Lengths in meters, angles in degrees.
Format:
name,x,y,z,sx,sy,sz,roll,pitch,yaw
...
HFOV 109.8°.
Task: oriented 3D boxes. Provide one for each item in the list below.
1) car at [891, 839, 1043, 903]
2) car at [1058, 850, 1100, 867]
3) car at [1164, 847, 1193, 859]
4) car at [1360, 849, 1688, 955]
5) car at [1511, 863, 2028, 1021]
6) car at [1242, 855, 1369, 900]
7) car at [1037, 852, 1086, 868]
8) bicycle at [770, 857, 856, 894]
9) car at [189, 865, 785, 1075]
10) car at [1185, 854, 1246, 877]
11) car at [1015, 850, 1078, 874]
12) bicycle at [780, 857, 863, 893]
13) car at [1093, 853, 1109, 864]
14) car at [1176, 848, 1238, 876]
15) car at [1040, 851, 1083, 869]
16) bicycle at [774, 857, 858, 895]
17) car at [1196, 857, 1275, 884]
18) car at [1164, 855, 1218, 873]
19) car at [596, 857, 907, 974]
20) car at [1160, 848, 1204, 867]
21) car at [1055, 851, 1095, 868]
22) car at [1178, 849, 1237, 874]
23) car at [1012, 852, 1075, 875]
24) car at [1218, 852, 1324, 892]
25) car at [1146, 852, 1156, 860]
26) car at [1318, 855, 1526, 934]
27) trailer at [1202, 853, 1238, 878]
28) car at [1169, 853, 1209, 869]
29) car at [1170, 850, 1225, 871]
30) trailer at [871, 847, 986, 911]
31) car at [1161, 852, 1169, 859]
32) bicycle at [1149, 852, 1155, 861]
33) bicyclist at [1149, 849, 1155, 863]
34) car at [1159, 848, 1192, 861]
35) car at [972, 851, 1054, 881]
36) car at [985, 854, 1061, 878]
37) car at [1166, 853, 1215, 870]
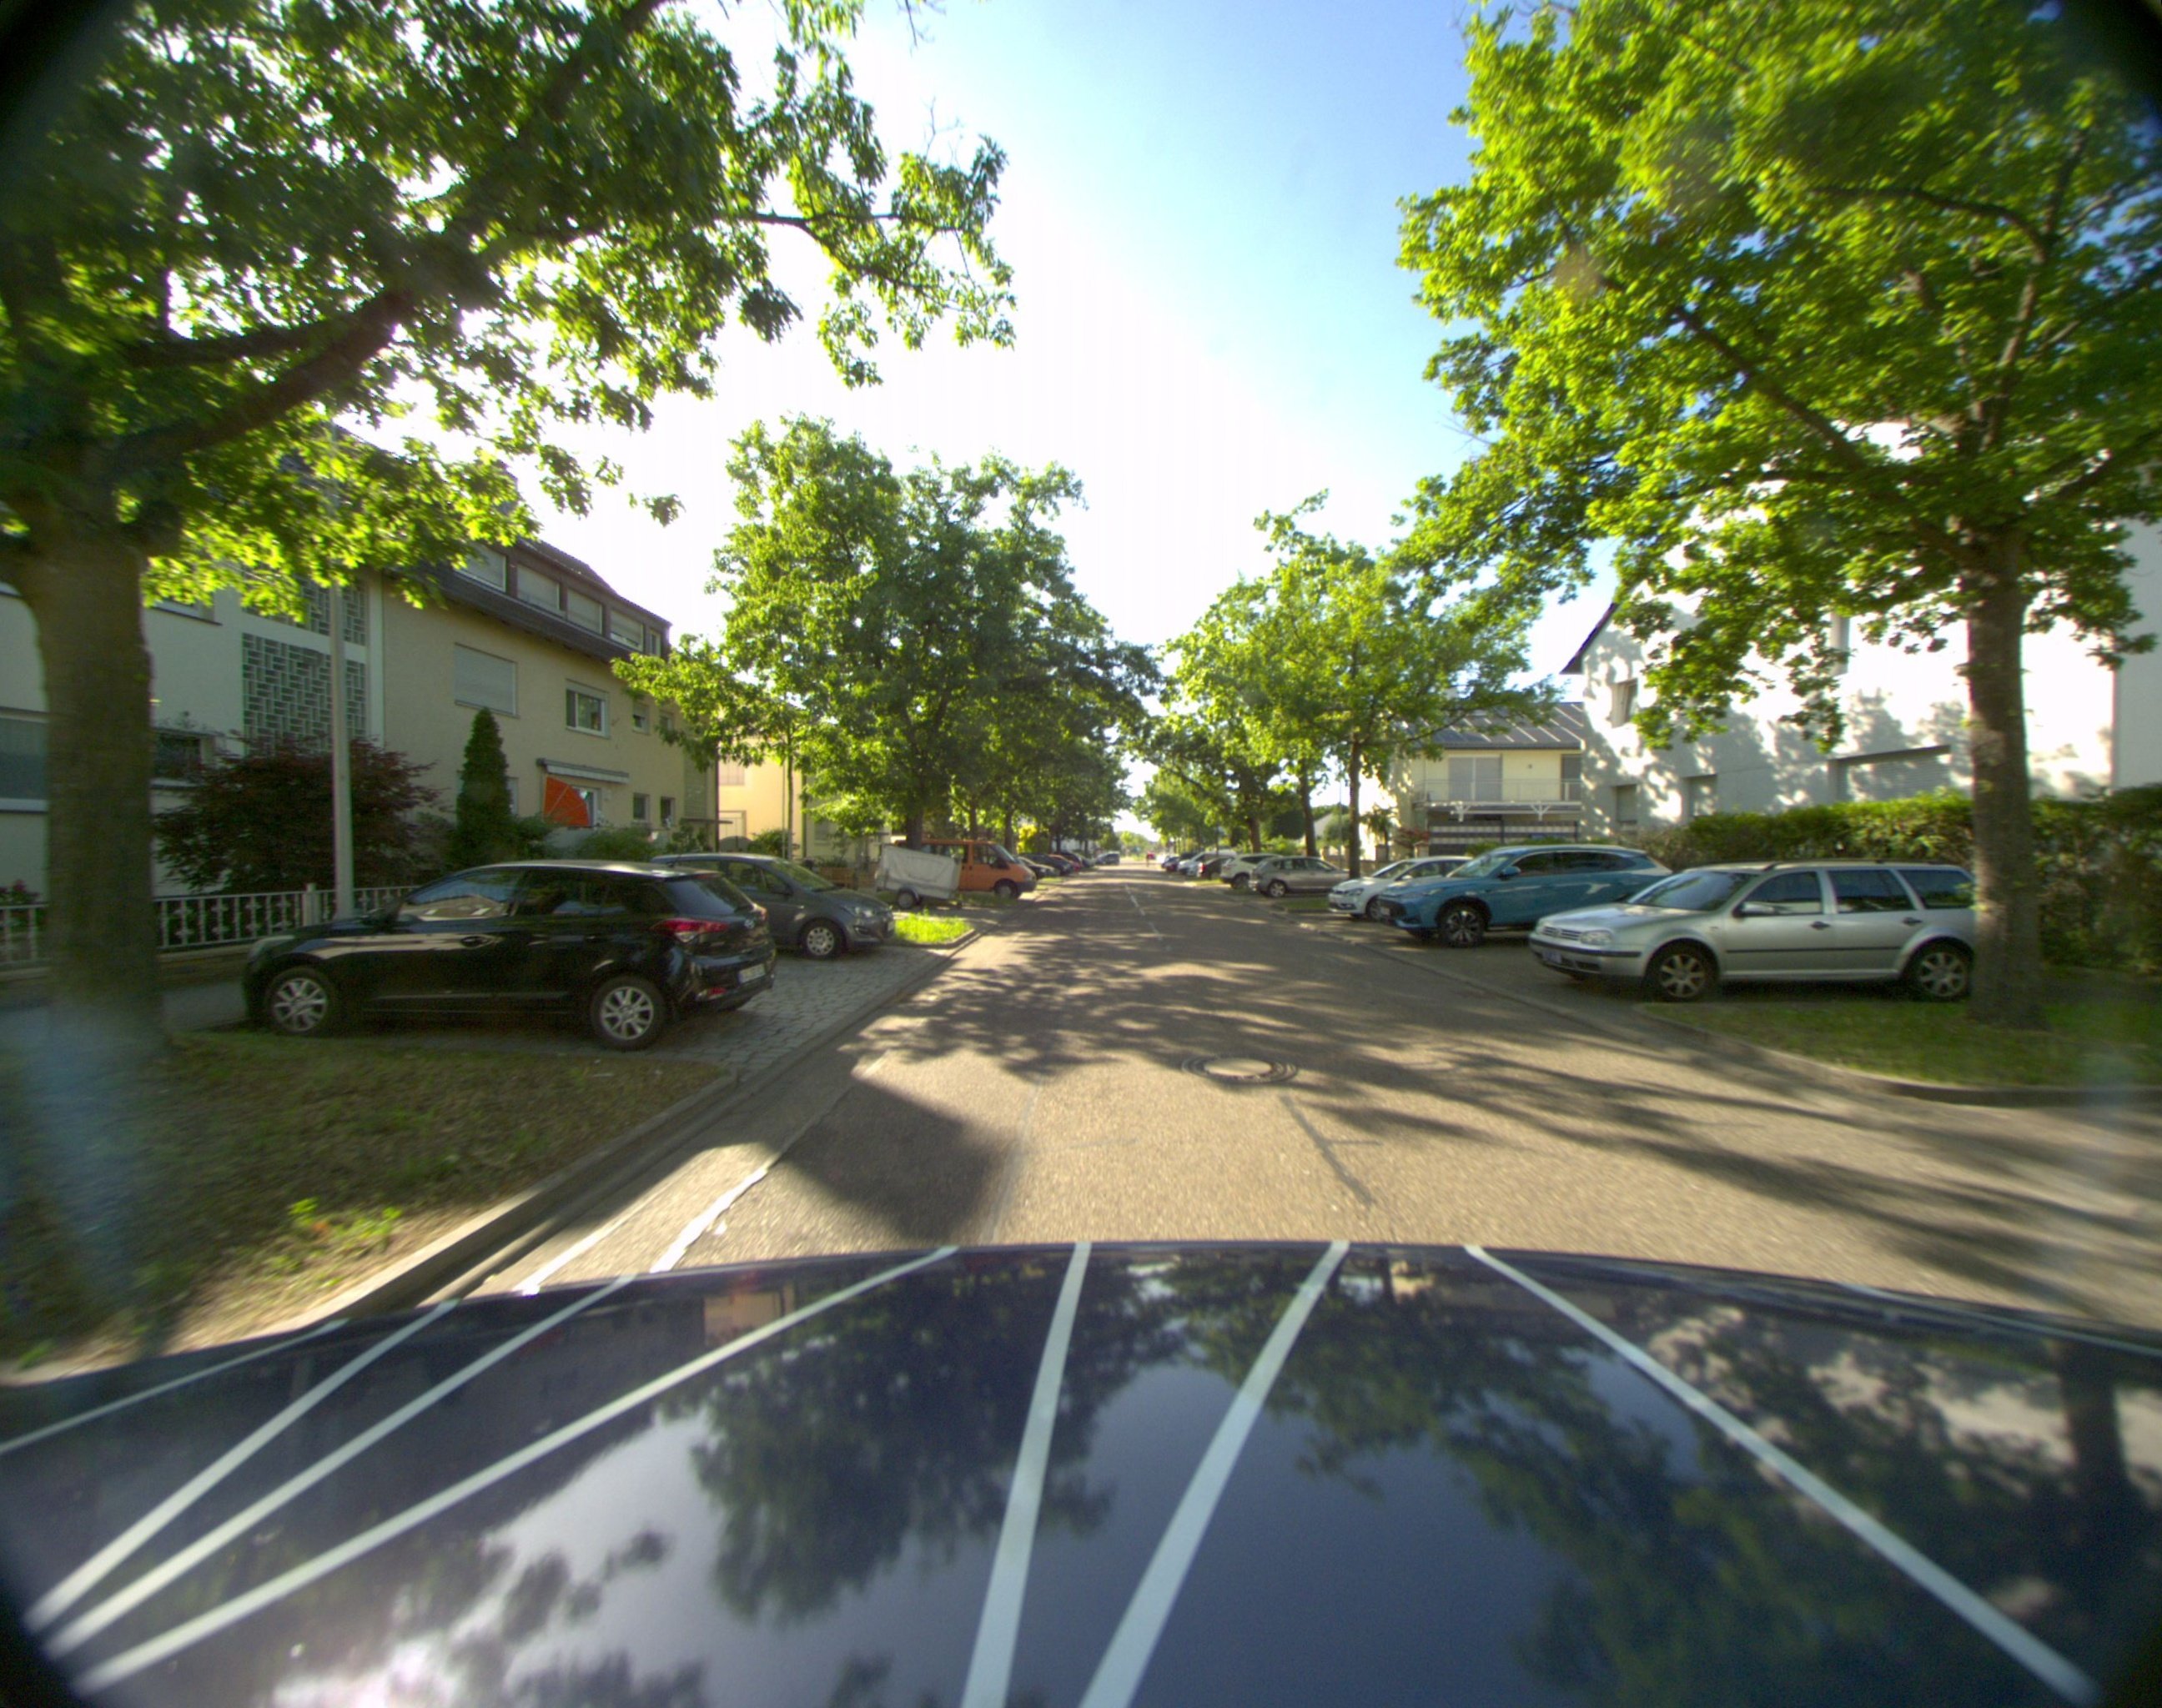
name,x,y,z,sx,sy,sz,roll,pitch,yaw
car,-3.832,0.554,26.121,4.830,2.071,2.086,0,1,2
car,-0.211,0.493,85.998,4.513,1.670,1.879,2,1,3
car,12.530,-0.151,97.822,3.522,1.487,1.708,0,0,2
car,7.479,0.778,13.232,4.534,1.622,1.938,-1,1,3
car,7.337,0.894,8.422,4.192,1.483,1.647,-1,1,1
car,8.059,0.827,27.583,4.044,1.415,1.810,-2,1,1
car,-1.890,0.534,74.045,4.512,1.437,1.838,1,1,4
bicycle,-9.379,0.740,26.594,2.865,1.230,0.468,1,1,3
car,-4.840,0.883,6.576,3.891,1.507,1.661,0,0,2
car,9.398,0.791,53.178,3.997,1.507,1.690,0,1,0
car,-2.592,0.611,57.654,4.584,1.637,1.838,1,1,3
bicycle,-9.413,0.761,27.581,2.865,1.230,0.468,1,2,3
car,2.831,0.574,105.159,1.877,1.469,3.852,1,0,6
car,9.201,0.569,55.836,4.247,1.933,2.000,0,1,0
car,-1.783,0.523,69.420,3.785,1.476,1.756,1,2,4
bicycle,-9.441,0.774,27.095,2.865,1.230,0.468,2,2,3
car,8.720,0.937,43.059,4.219,1.463,1.691,0,1,5
car,9.426,0.861,65.519,4.487,1.491,1.837,0,1,3
car,-4.891,0.881,11.713,3.997,1.614,1.757,0,2,-1
car,10.008,0.359,75.731,4.219,1.714,1.761,-2,1,4
car,-0.620,0.596,83.029,4.221,1.771,1.789,2,1,4
car,9.711,0.540,58.597,4.249,1.760,1.967,-2,1,0
car,-2.686,0.704,54.858,4.330,1.521,1.841,1,0,2
car,8.146,0.751,32.871,4.197,1.558,1.792,-2,0,4
car,14.811,0.399,160.892,1.741,1.532,3.949,1,0,9
car,7.867,0.906,17.843,3.996,1.586,1.857,2,2,2
trailer,9.298,0.746,50.872,2.240,1.664,1.475,0,0,7
car,11.242,0.728,79.139,4.010,1.506,1.796,1,0,5
car,10.412,0.590,68.137,4.684,1.758,1.795,-2,0,3
trailer,-4.217,0.671,21.379,2.954,1.655,1.614,2,1,-4
car,19.484,0.354,175.963,1.765,1.390,3.851,0,0,4
bicycle,8.623,0.281,92.061,0.598,1.052,1.986,2,1,4
bicyclist,8.618,0.275,92.005,0.597,1.664,0.975,2,1,4
car,12.424,0.073,99.989,3.963,1.565,1.921,-1,2,-2
car,-3.729,0.653,42.198,4.348,1.551,1.868,1,1,2
car,-3.592,0.722,47.386,4.437,1.323,1.691,2,1,5
car,10.198,0.710,71.138,4.283,1.416,1.723,-2,0,-2
